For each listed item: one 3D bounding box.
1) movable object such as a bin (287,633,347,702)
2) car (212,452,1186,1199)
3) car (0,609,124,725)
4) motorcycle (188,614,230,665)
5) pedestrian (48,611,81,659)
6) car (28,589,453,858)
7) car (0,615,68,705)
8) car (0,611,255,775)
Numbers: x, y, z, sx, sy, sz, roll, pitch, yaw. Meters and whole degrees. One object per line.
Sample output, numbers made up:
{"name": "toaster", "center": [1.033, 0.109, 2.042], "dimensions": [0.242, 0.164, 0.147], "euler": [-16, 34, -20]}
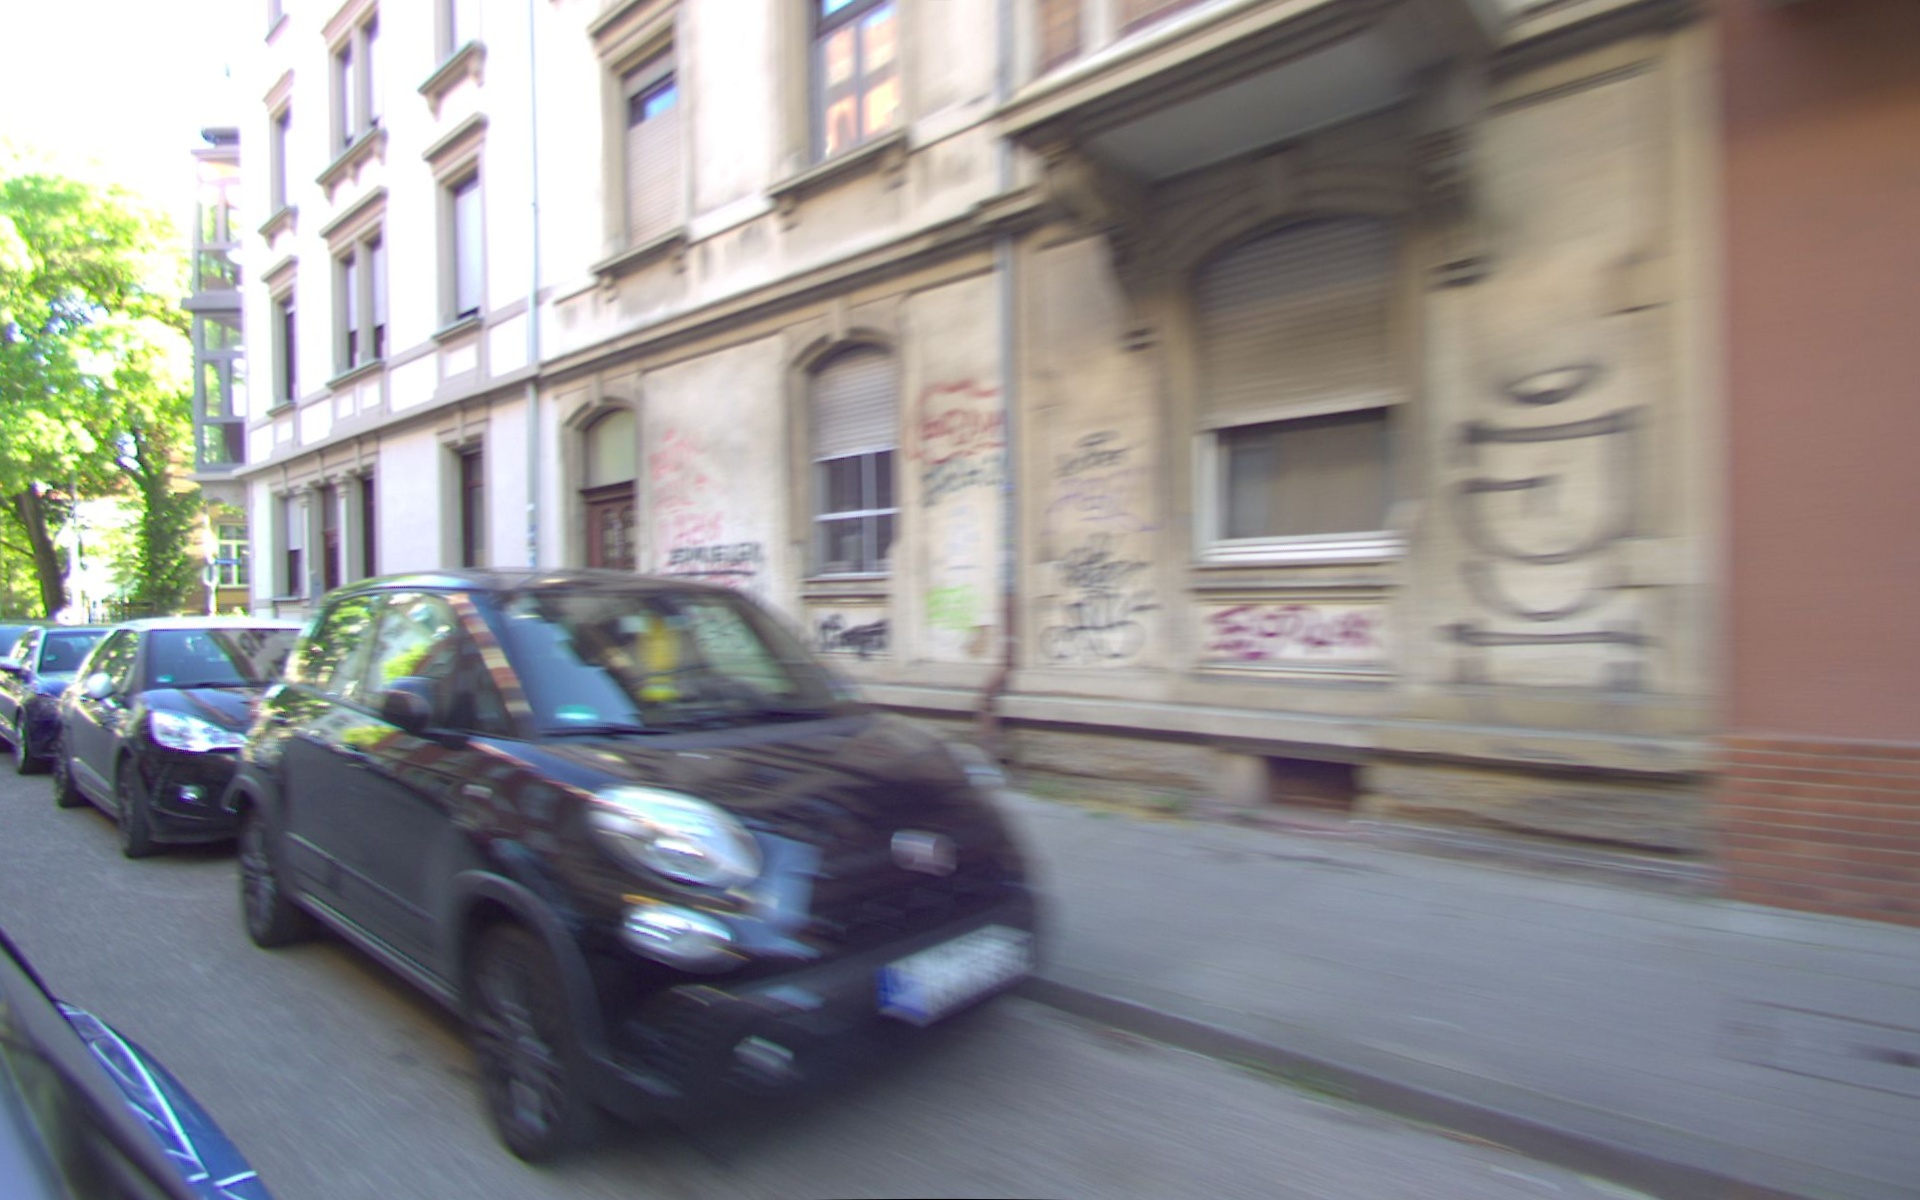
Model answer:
{"name": "movable object such as a bin", "center": [-9.608, 0.994, 15.130], "dimensions": [0.511, 0.963, 0.615], "euler": [-1, 1, 41]}
{"name": "car", "center": [-1.408, 0.554, 4.035], "dimensions": [4.188, 1.629, 1.742], "euler": [-1, -1, 42]}
{"name": "car", "center": [-13.706, 0.917, 14.795], "dimensions": [3.741, 1.494, 1.762], "euler": [-1, 0, 42]}
{"name": "motorcycle", "center": [-19.309, 0.993, 26.035], "dimensions": [0.603, 1.205, 2.050], "euler": [0, 0, -29]}
{"name": "pedestrian", "center": [-33.264, 1.288, 37.594], "dimensions": [1.006, 1.759, 0.794], "euler": [-1, -1, 42]}
{"name": "car", "center": [-5.403, 0.738, 7.427], "dimensions": [3.836, 1.467, 1.626], "euler": [-1, -3, 40]}
{"name": "car", "center": [-17.499, 1.040, 18.278], "dimensions": [3.933, 1.494, 1.761], "euler": [-1, 0, 44]}
{"name": "car", "center": [-9.132, 0.852, 10.764], "dimensions": [3.739, 1.414, 1.763], "euler": [-1, 0, 40]}
